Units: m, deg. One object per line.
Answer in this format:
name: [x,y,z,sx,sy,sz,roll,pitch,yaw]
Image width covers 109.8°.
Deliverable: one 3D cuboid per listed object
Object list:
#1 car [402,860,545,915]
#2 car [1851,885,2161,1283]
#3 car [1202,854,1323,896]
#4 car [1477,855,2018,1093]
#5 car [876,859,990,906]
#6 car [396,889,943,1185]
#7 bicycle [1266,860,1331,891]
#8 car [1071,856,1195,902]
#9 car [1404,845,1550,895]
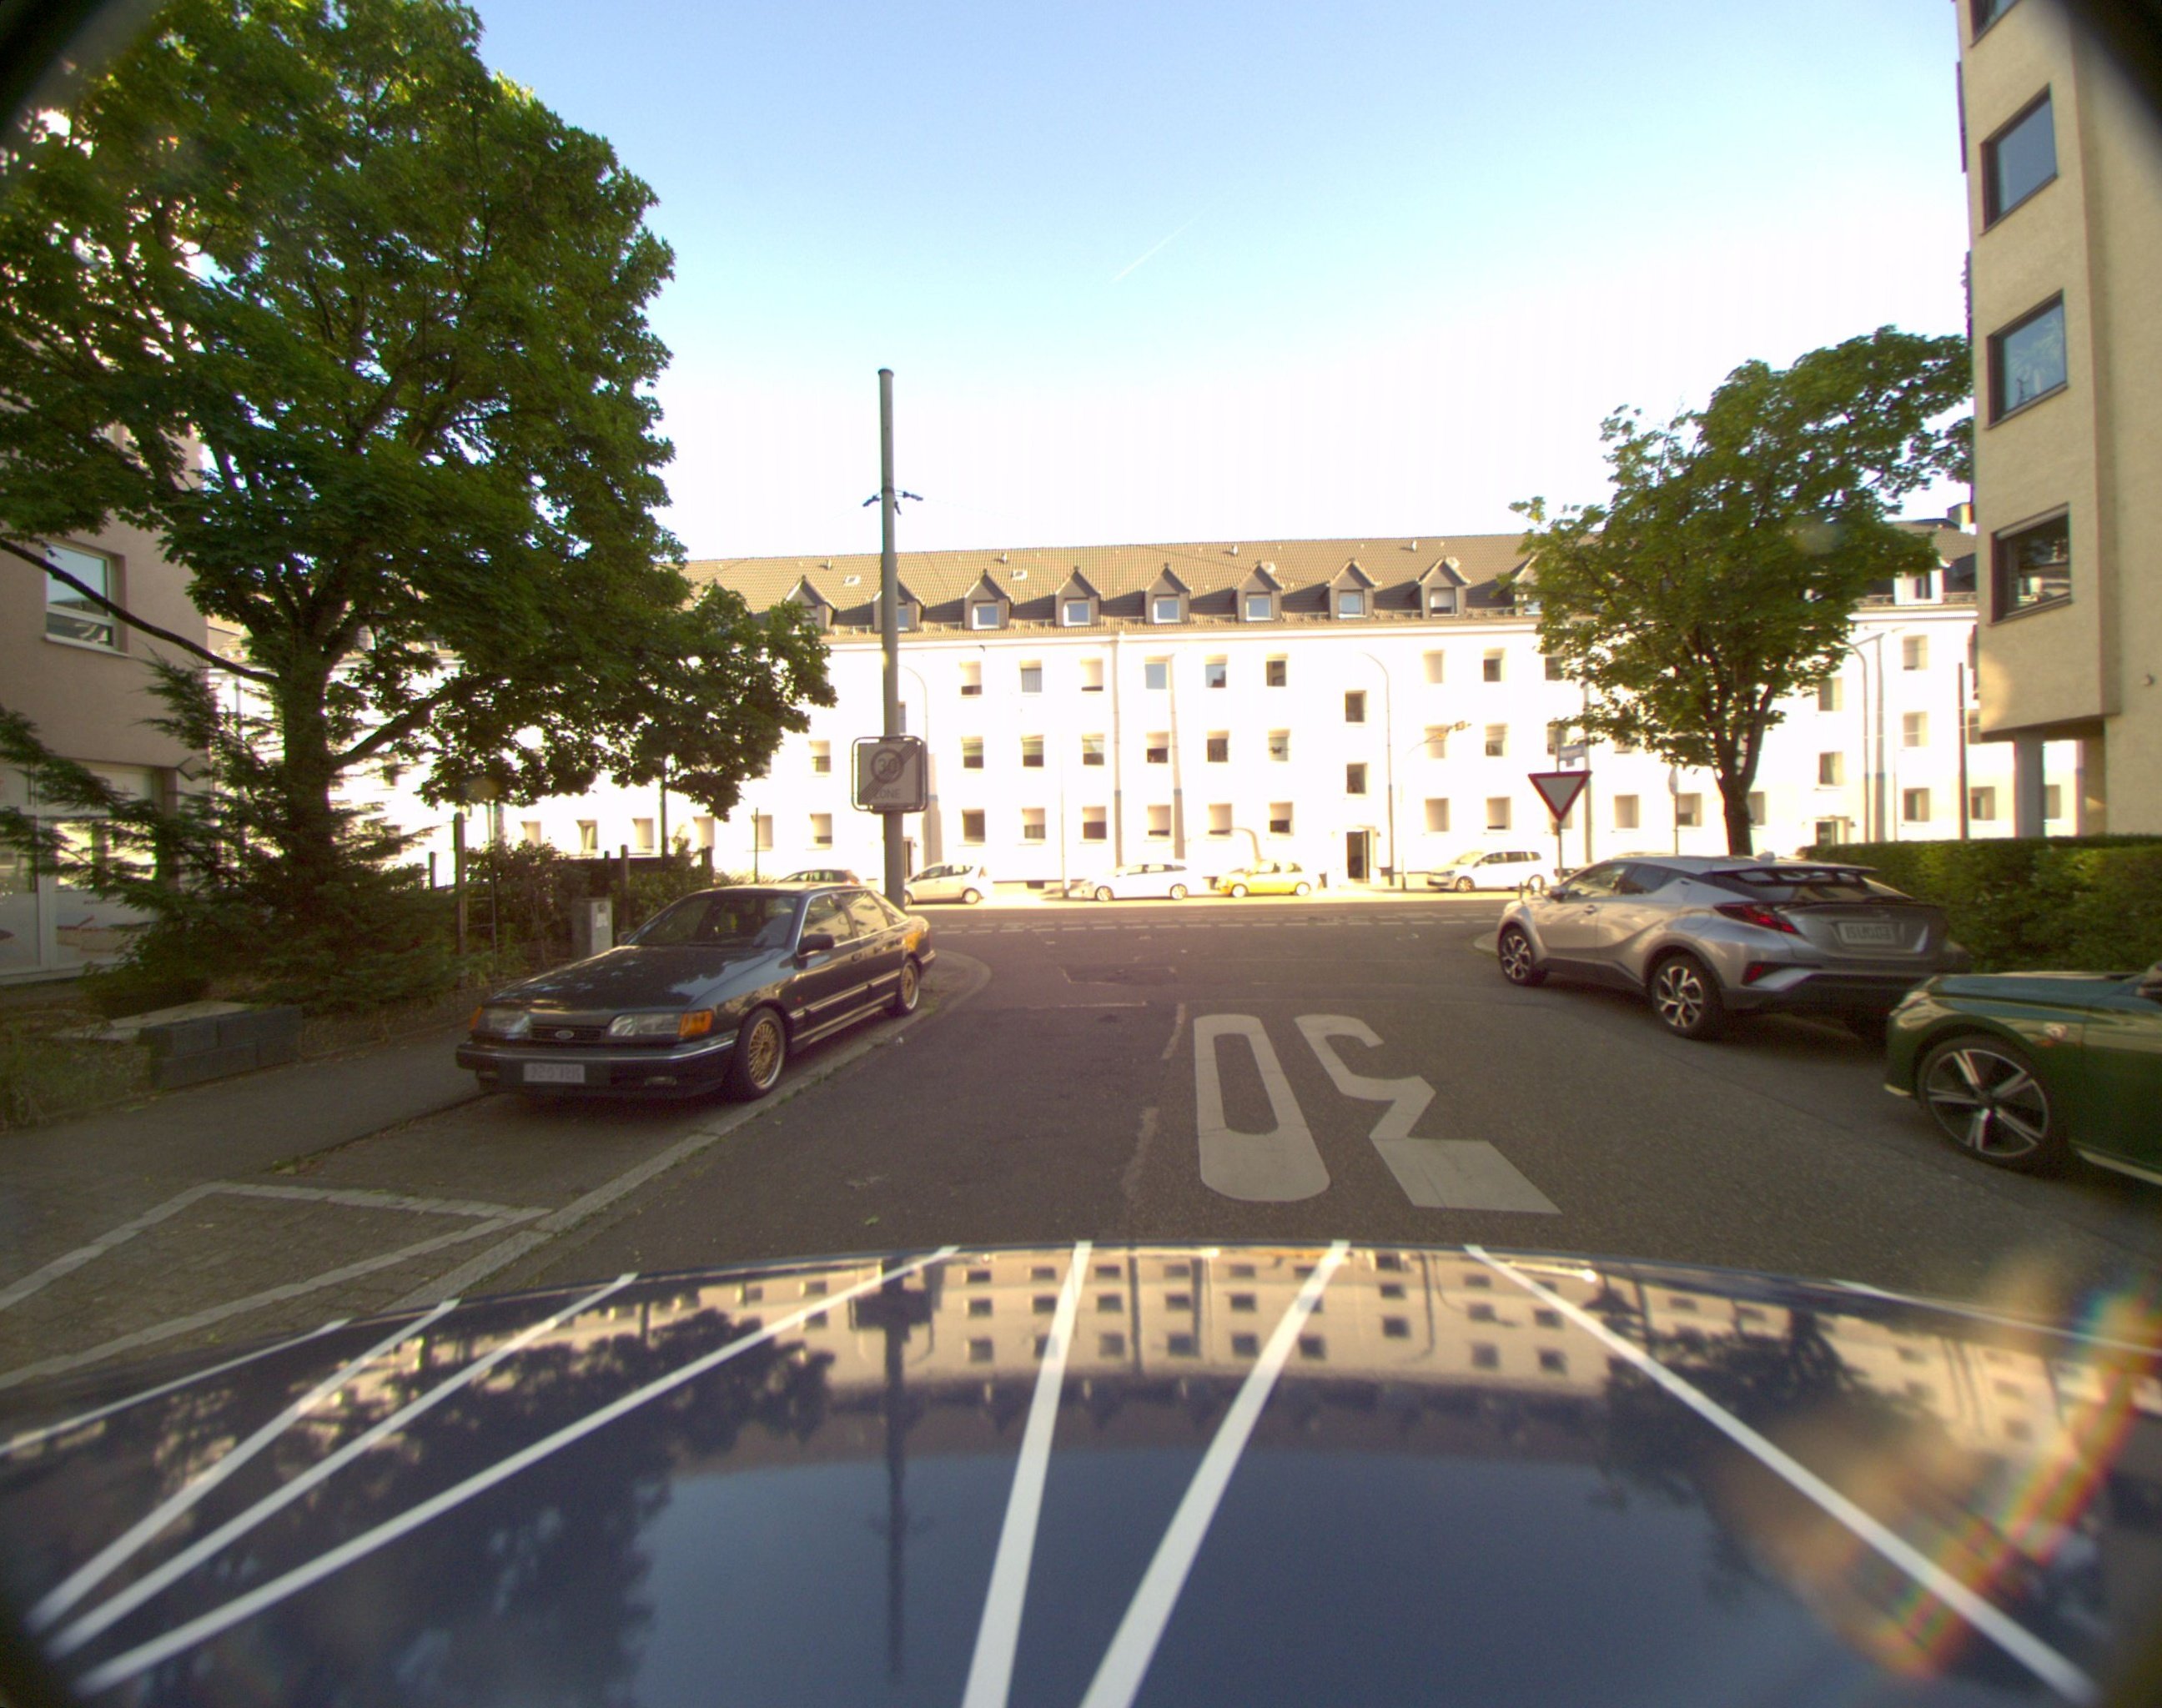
car: [-23.723,1.298,29.764,4.150,1.960,1.792,-1,2,3]
car: [5.014,0.947,2.168,1.756,1.488,4.137,1,1,7]
car: [6.828,0.781,28.794,4.198,1.422,1.518,-2,1,1]
car: [5.817,0.859,7.466,1.907,1.650,4.000,1,1,3]
car: [-5.597,1.066,29.008,3.900,1.563,1.759,-1,4,3]
car: [-2.765,1.116,6.535,1.711,1.380,4.572,-1,0,8]
bicycle: [8.886,0.863,31.059,2.325,1.190,1.099,-1,0,0]
car: [1.927,0.931,28.775,4.505,1.562,1.685,-1,2,1]
car: [14.962,0.580,28.878,4.623,1.657,1.759,-1,3,-1]
